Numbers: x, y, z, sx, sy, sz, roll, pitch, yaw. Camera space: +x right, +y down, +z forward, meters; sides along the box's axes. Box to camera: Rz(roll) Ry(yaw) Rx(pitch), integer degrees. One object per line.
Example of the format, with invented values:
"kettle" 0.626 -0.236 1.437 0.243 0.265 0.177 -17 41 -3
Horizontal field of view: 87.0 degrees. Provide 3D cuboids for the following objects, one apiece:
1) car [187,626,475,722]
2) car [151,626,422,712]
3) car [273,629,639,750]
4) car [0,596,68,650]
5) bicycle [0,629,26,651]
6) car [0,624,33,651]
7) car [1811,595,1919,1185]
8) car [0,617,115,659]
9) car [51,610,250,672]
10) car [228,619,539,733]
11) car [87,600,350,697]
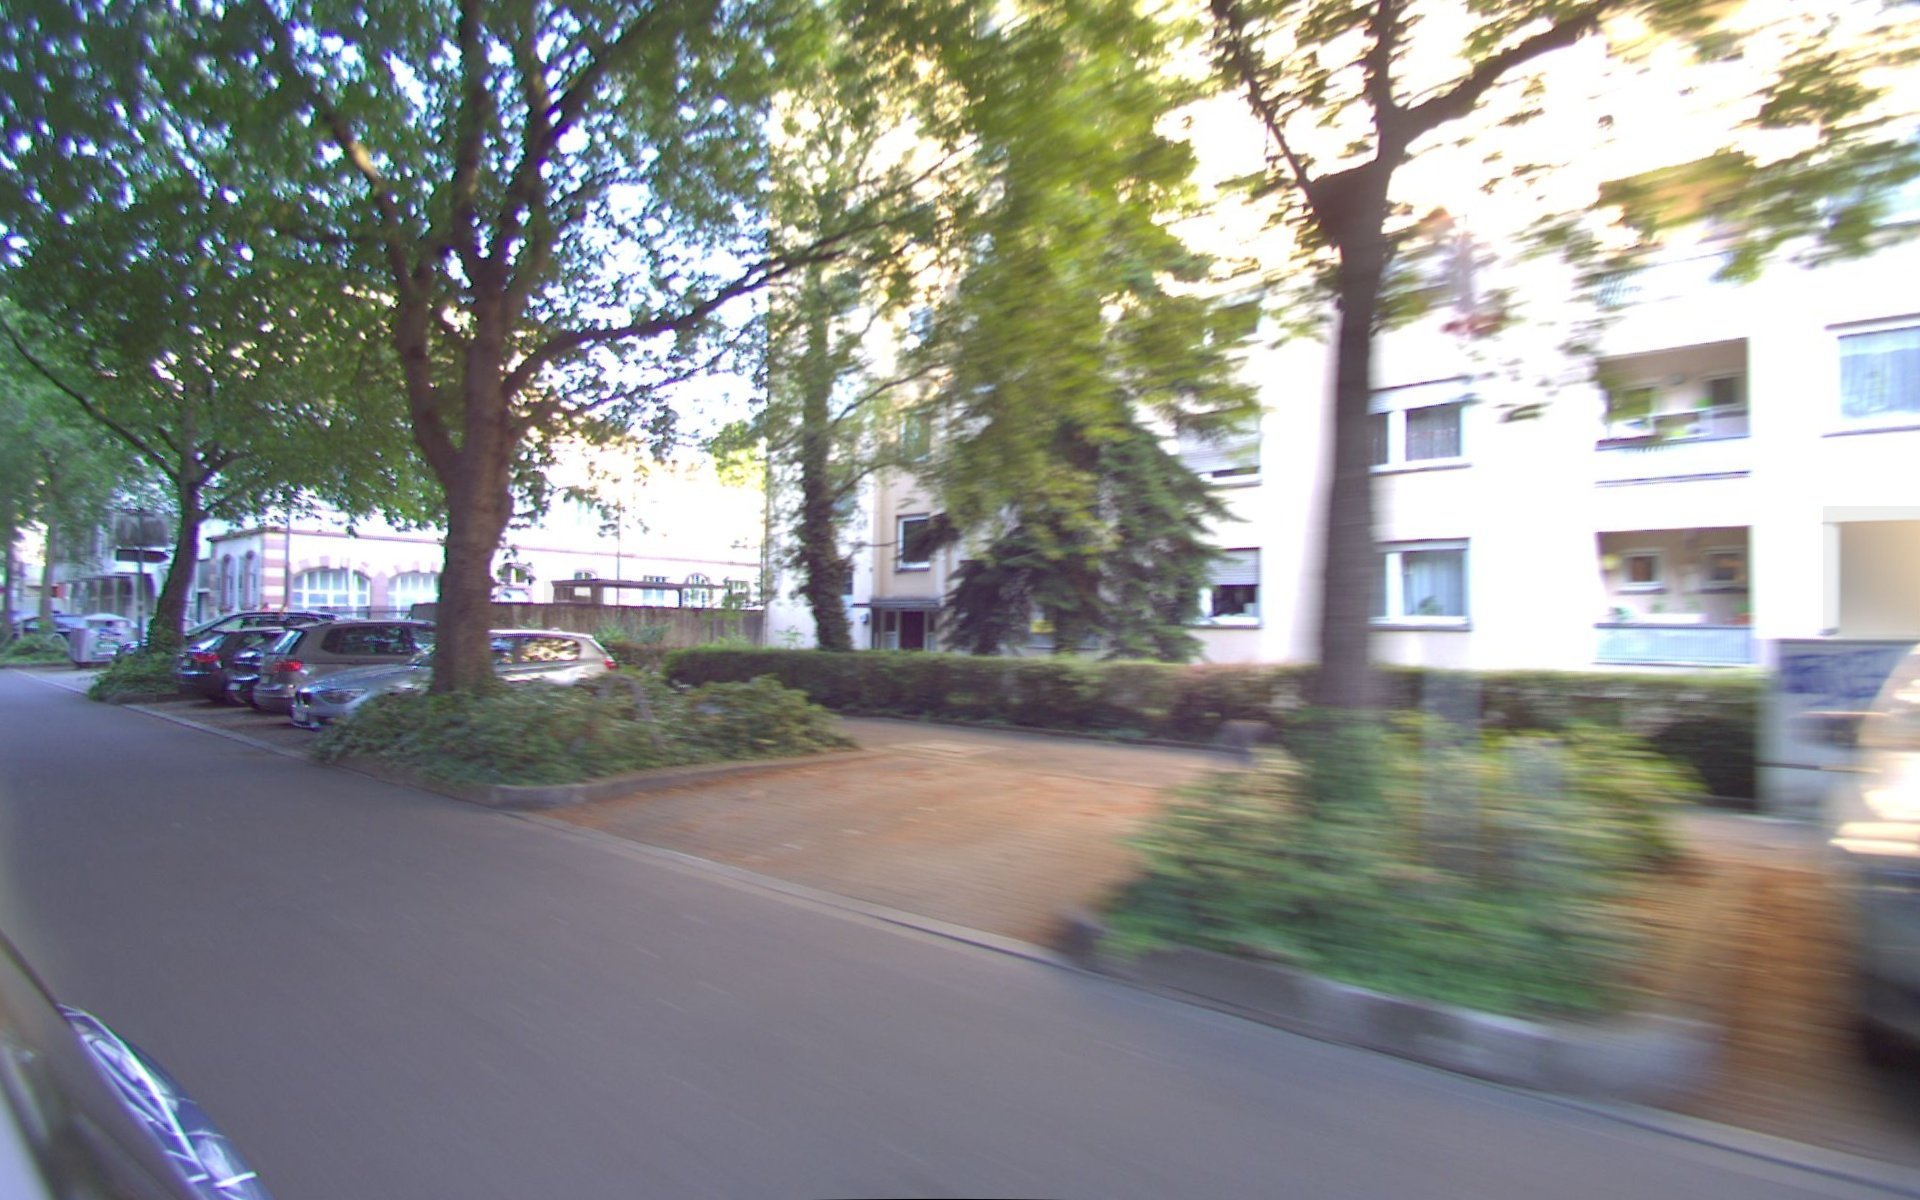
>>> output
"car" -11.022 1.215 17.956 1.823 1.502 3.948 -1 -2 38
"car" -12.844 1.246 19.488 1.920 1.475 3.947 -1 -2 39
"car" -6.960 1.137 14.344 1.878 1.440 4.243 -1 -2 40
"car" -46.461 1.106 48.782 2.119 2.592 4.952 -2 -2 40
"bicycle" -36.360 1.520 38.215 0.613 0.837 1.535 -1 -2 44
"car" -52.598 2.003 54.245 1.952 1.480 4.124 -1 -2 41
"car" 4.704 0.798 3.796 2.075 1.564 4.568 -1 -2 43
"car" -37.159 1.501 40.552 2.159 1.634 4.801 -1 -2 41
"car" -24.839 1.230 31.188 1.998 1.785 4.460 -1 -2 39
"car" -9.079 1.114 16.131 3.940 1.577 1.931 2 -2 -44
"car" -16.712 1.047 23.003 1.998 1.970 4.460 -1 -2 39
